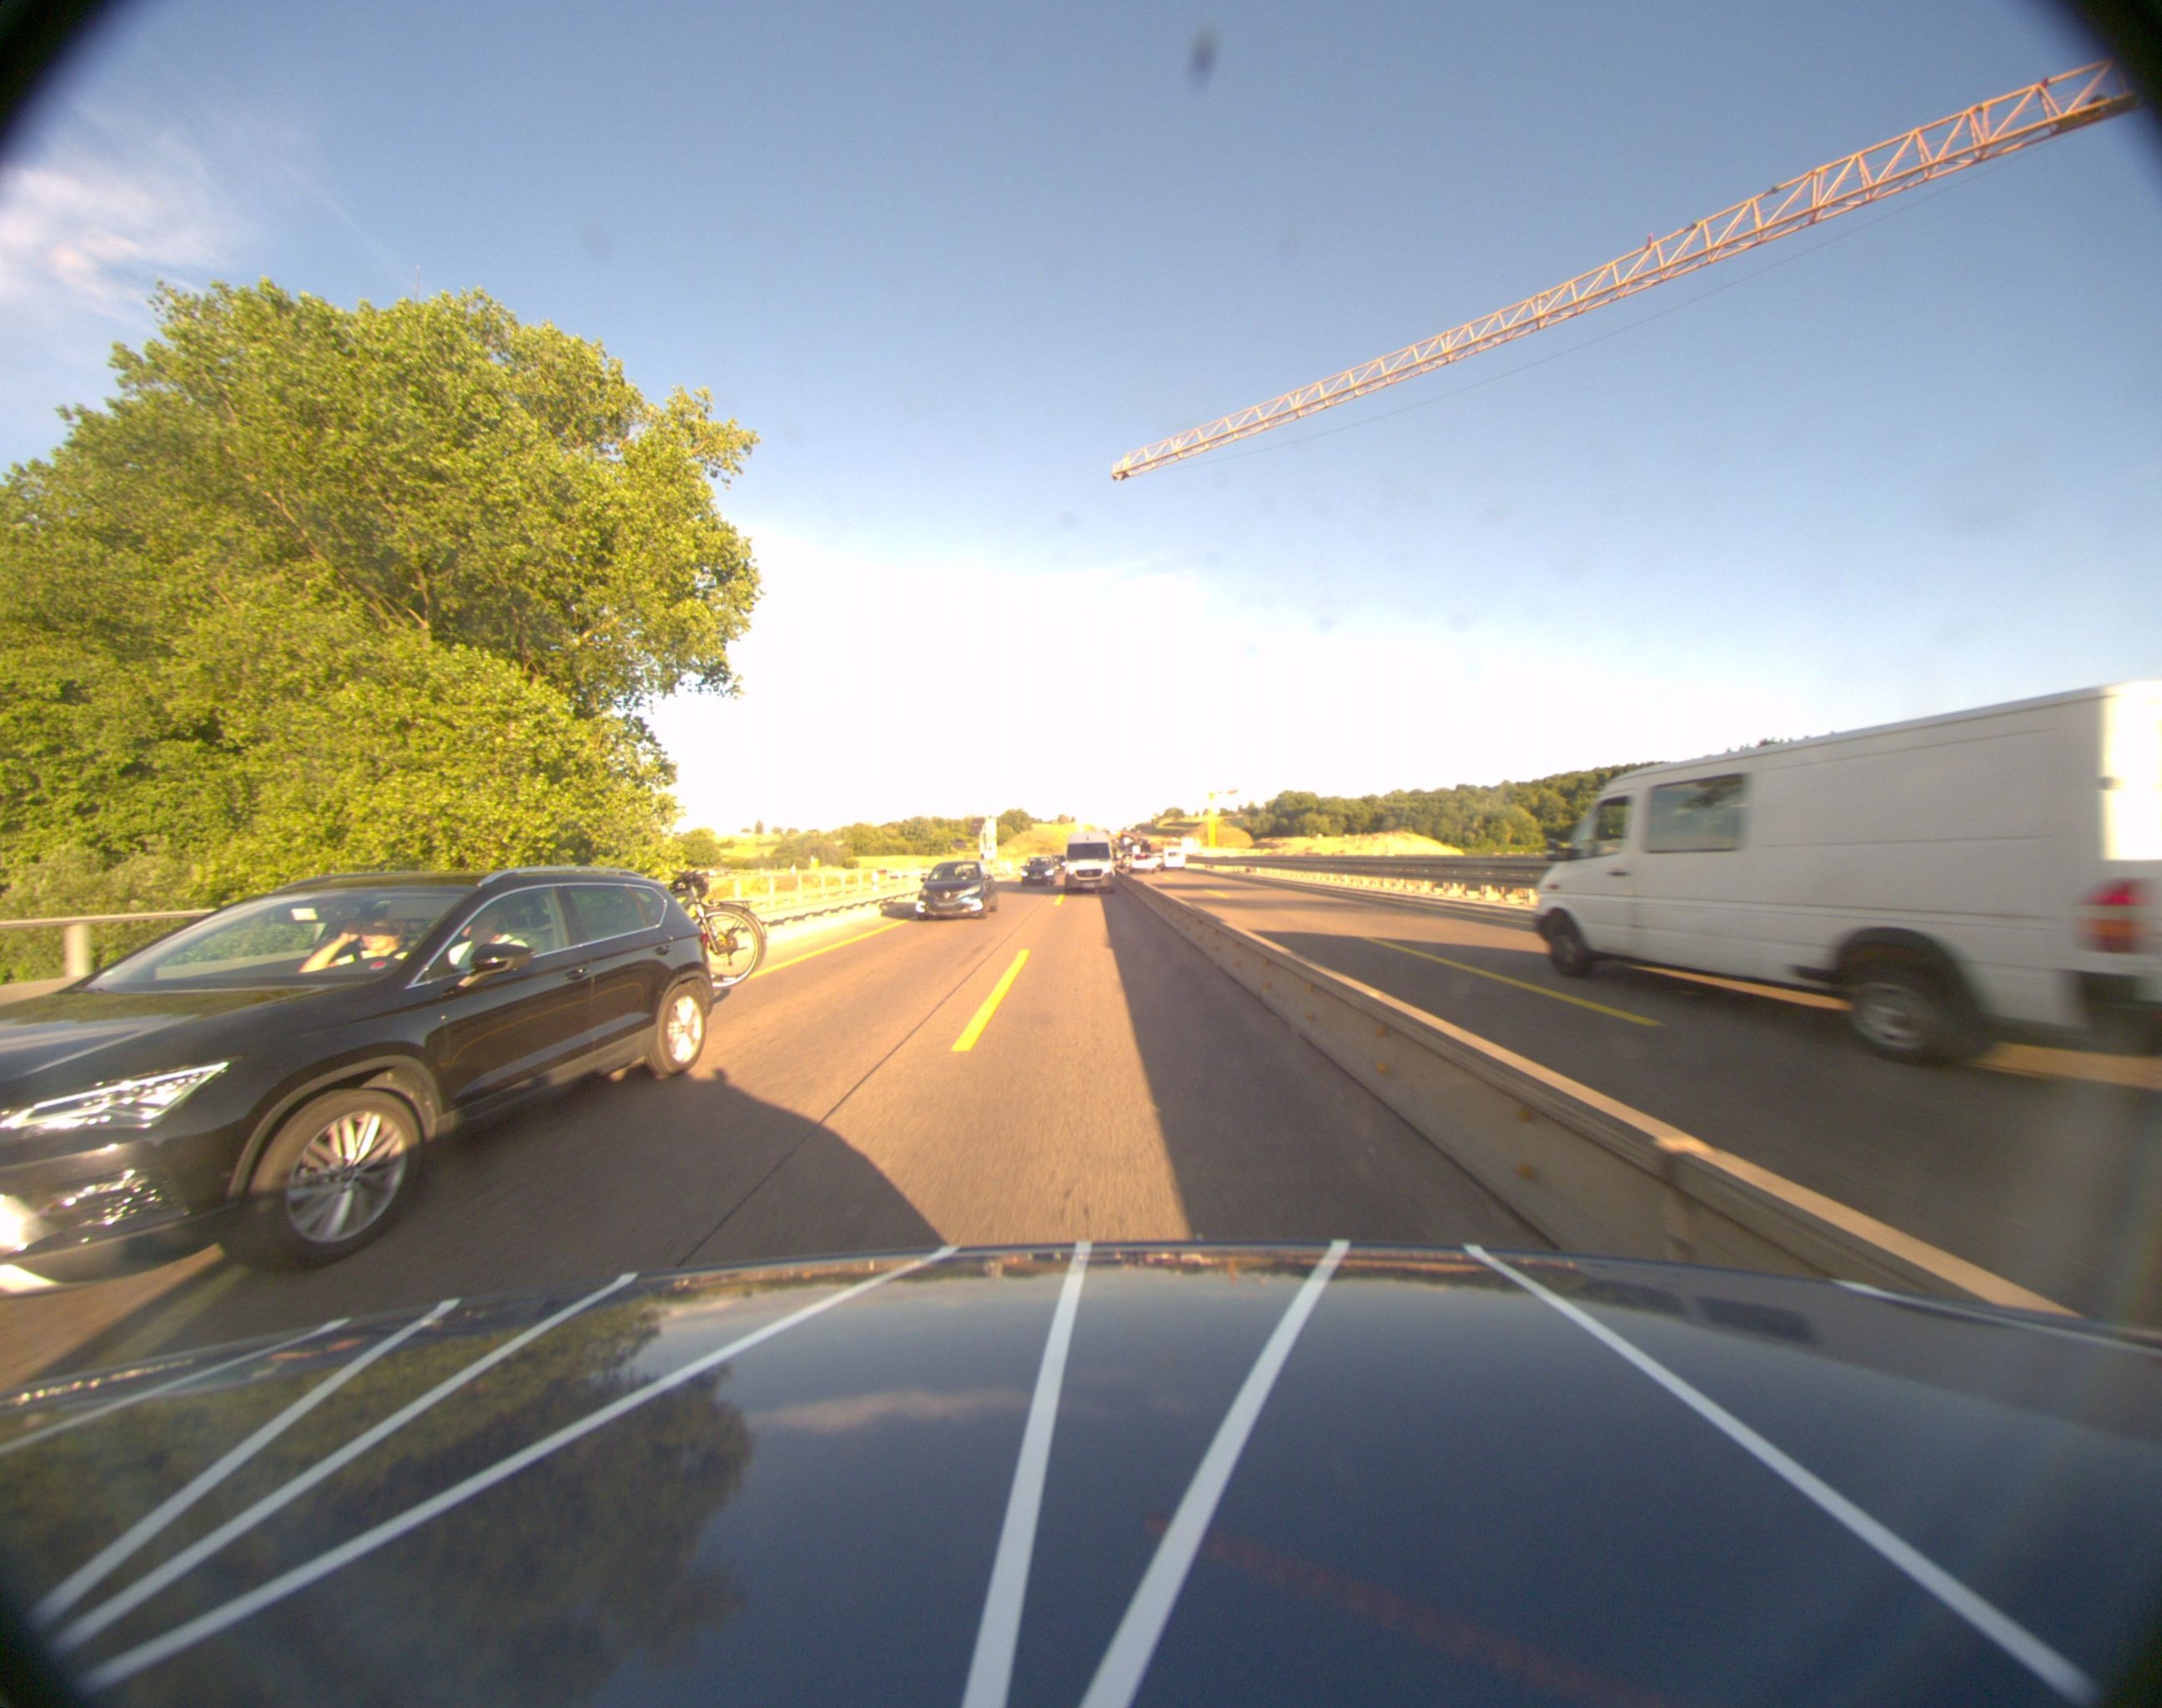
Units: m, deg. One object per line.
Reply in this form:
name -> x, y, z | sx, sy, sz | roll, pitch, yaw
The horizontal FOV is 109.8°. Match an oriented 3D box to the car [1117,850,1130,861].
car -> 7.141, 0.312, 128.461 | 1.998, 1.748, 4.660 | -2, 0, 1

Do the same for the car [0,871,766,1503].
car -> -3.904, 0.998, 4.554 | 1.880, 1.590, 4.965 | -2, 0, 0

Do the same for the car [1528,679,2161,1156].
car -> 6.230, 0.270, 5.899 | 1.998, 2.310, 5.934 | -2, 0, 0

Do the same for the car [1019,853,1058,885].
car -> -2.350, 0.829, 43.338 | 1.817, 1.606, 4.526 | -4, 0, 0

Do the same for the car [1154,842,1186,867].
car -> 7.376, 0.059, 63.554 | 1.999, 1.845, 4.282 | -5, 0, -1

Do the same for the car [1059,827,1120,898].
car -> 0.400, 0.294, 30.347 | 2.109, 2.518, 5.220 | -2, 0, 2

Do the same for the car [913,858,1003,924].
car -> -3.288, 0.957, 21.106 | 1.778, 1.576, 4.135 | -2, 0, 0

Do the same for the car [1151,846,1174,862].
car -> 8.703, 0.023, 81.429 | 1.933, 1.537, 4.288 | -5, 0, 2

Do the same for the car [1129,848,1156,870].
car -> 4.655, 0.369, 58.046 | 1.843, 1.630, 4.000 | -1, 0, 1

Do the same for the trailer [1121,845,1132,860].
trailer -> 12.652, -0.339, 211.612 | 2.821, 4.026, 14.024 | -2, 0, 2

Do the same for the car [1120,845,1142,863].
car -> 5.271, 0.006, 80.801 | 1.934, 1.744, 4.672 | -3, 0, -1

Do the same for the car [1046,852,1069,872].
car -> -2.099, 0.707, 69.355 | 1.902, 1.703, 4.887 | -2, 0, 0

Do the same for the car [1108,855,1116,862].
car -> 8.133, 1.226, 197.493 | 1.998, 1.635, 4.512 | -3, 0, 1
